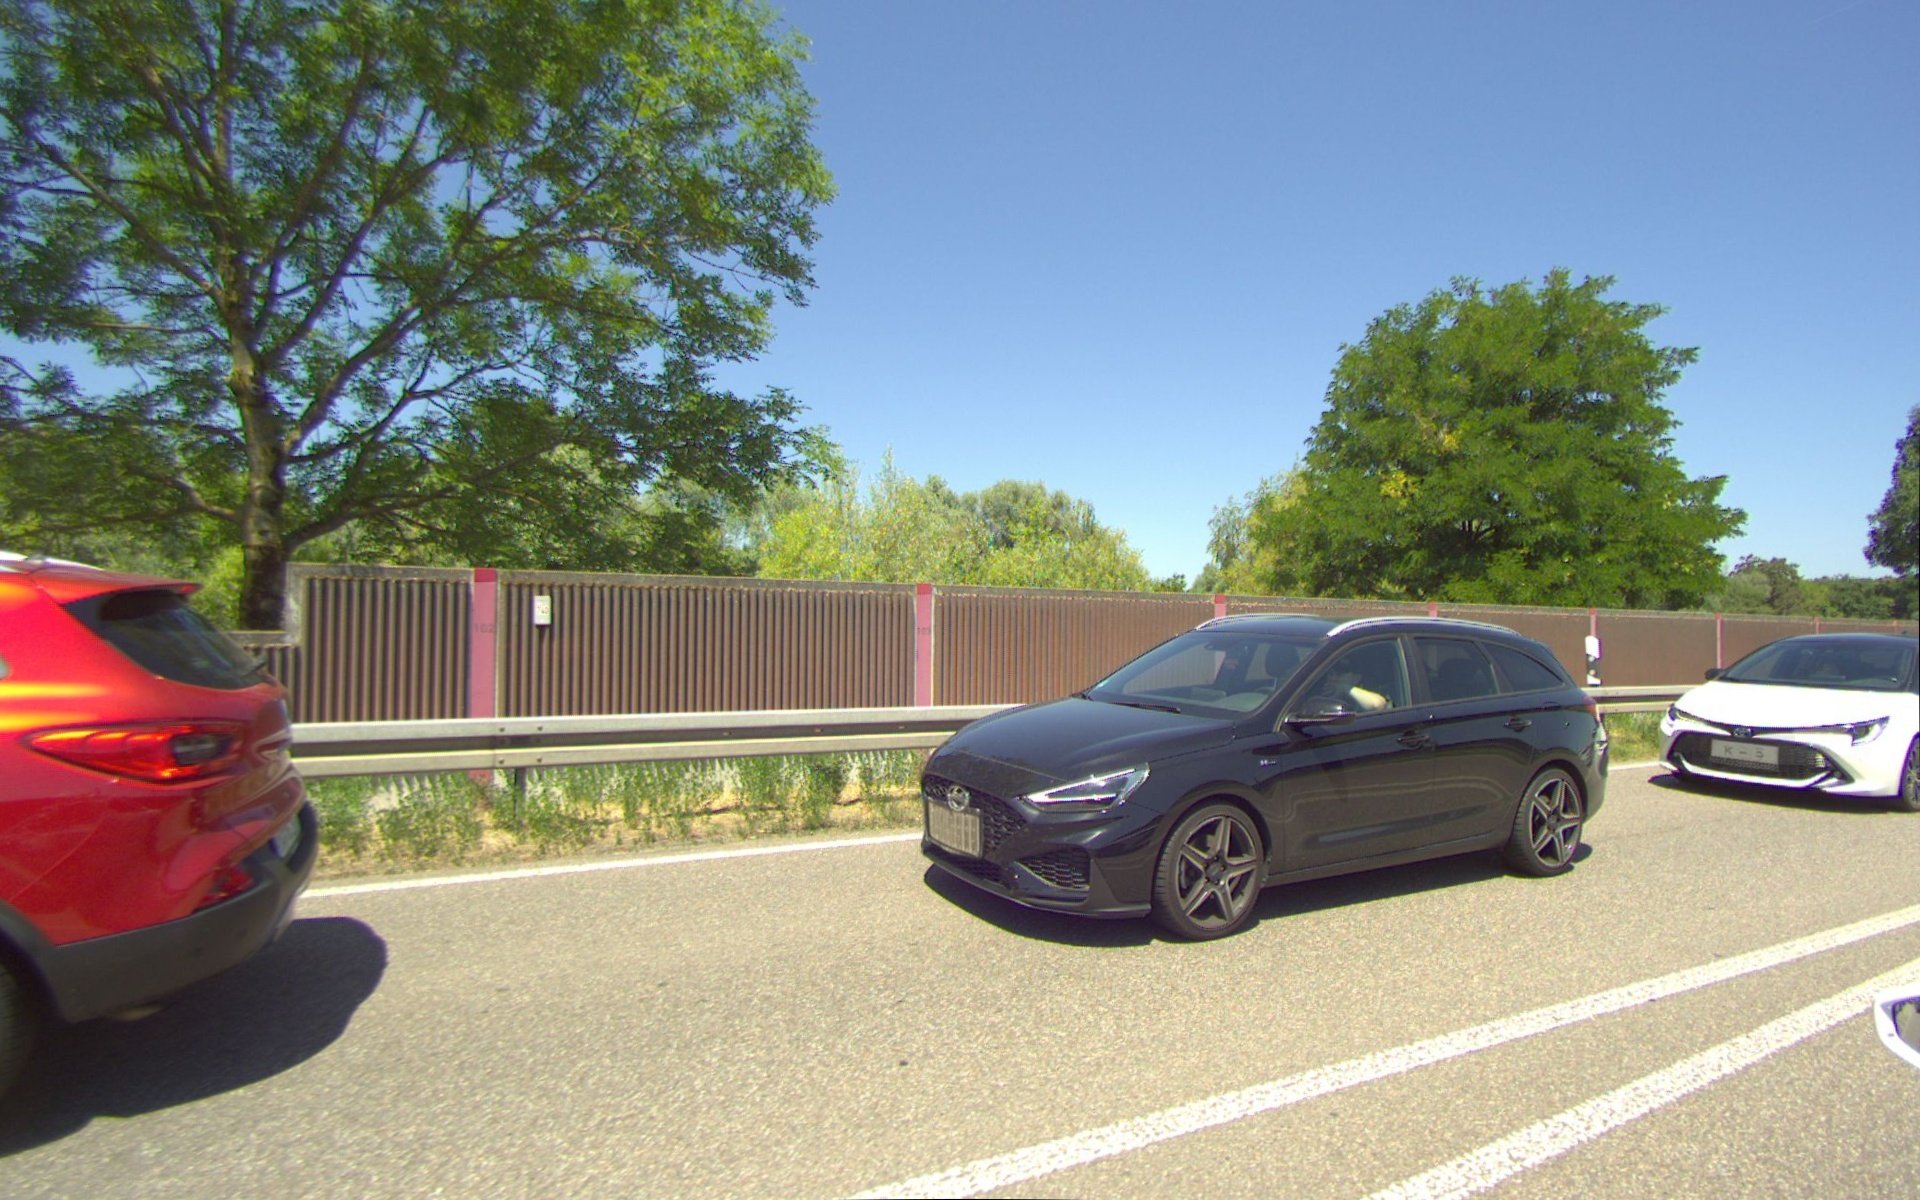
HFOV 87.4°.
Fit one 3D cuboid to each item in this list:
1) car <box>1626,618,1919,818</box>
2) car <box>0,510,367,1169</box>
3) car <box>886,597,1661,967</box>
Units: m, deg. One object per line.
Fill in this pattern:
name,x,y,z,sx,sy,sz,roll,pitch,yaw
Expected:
car,8.458,0.976,9.494,4.560,1.479,1.678,2,0,-29
car,-4.084,0.570,2.620,4.224,1.653,1.749,1,0,-28
car,1.992,0.792,5.906,4.560,1.479,1.678,2,0,-29
